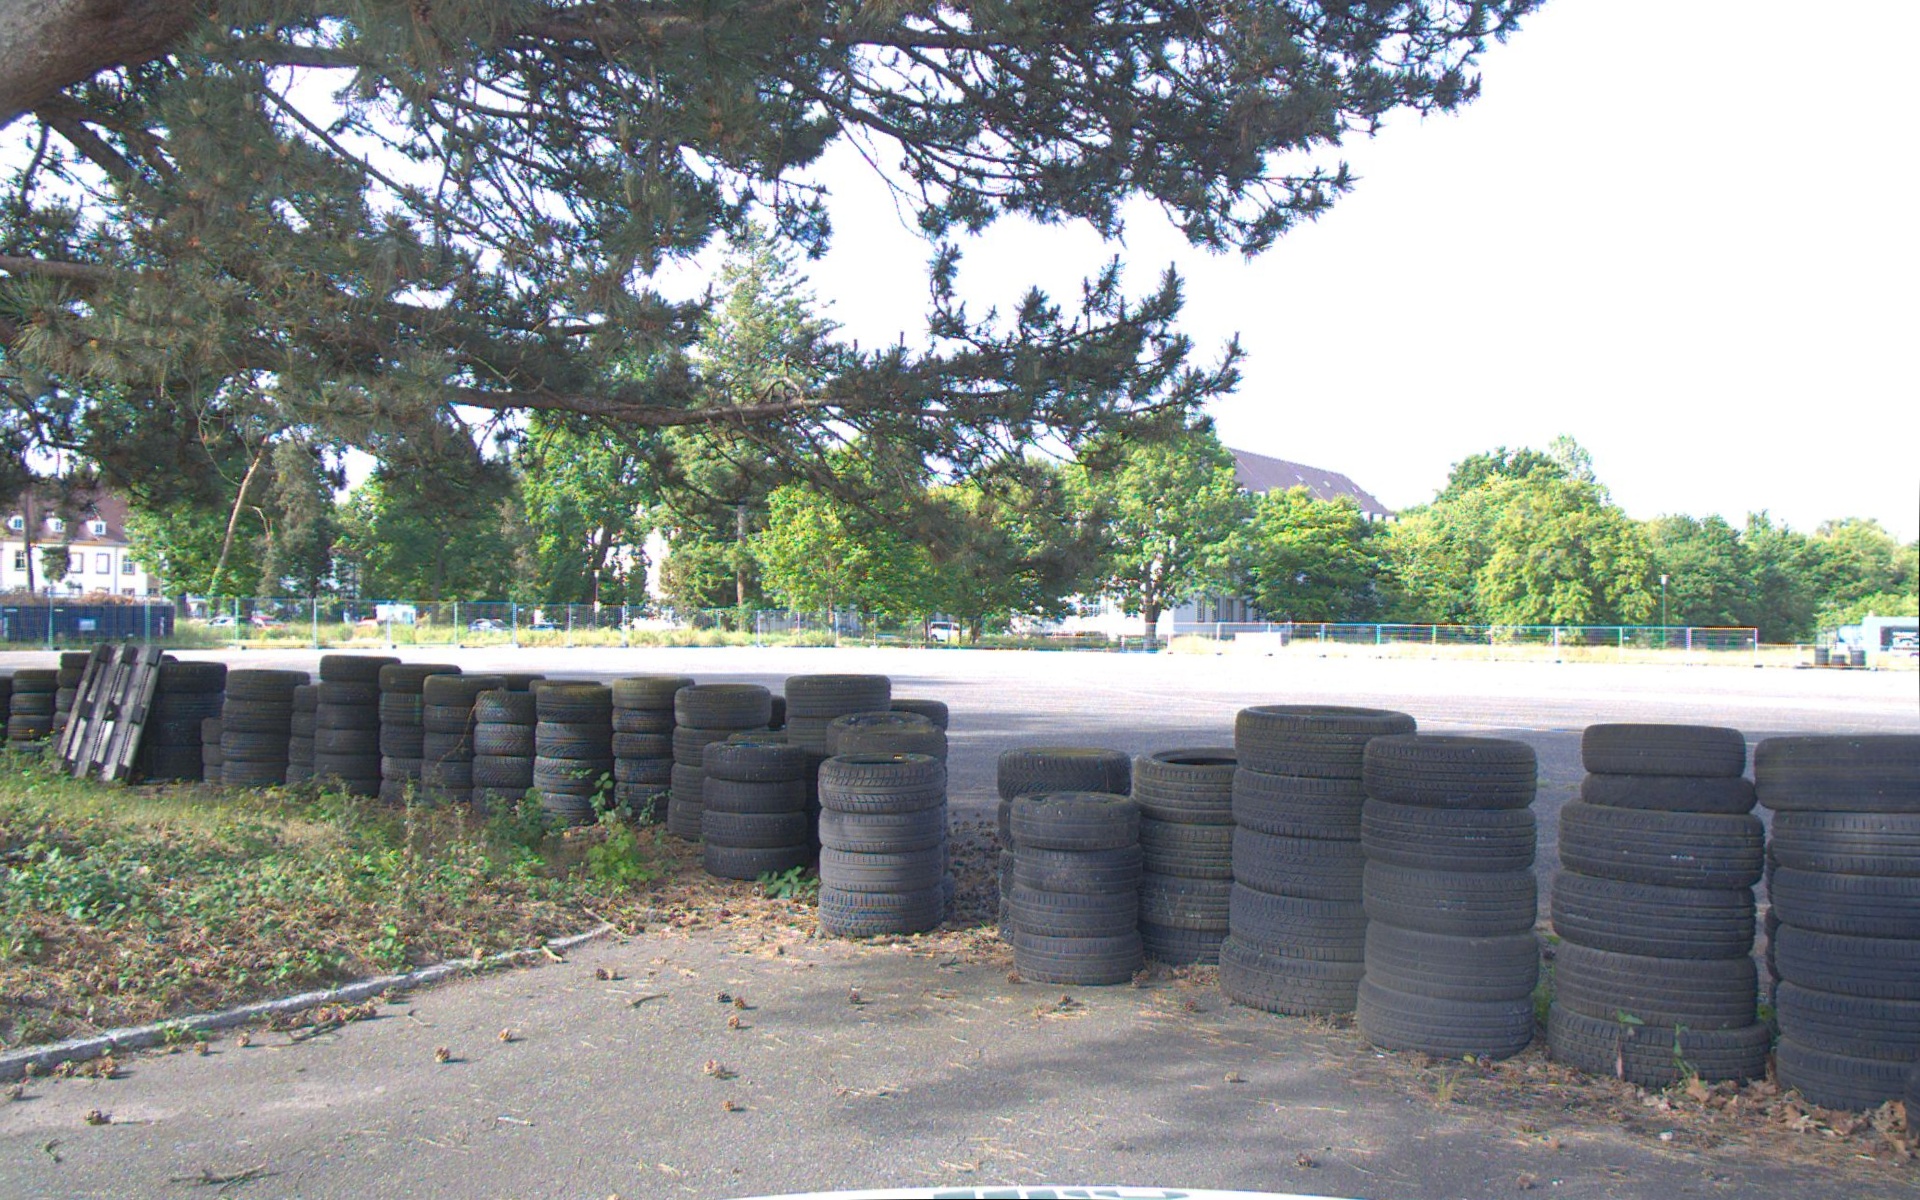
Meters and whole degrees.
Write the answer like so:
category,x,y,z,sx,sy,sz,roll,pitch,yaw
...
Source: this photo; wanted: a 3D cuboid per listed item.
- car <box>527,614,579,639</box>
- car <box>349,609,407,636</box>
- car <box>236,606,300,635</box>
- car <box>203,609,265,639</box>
category,x,y,z,sx,sy,sz,roll,pitch,yaw
car,-30.200,1.943,122.684,3.933,1.780,1.986,0,-1,45
car,-38.754,1.502,110.142,3.927,1.780,1.989,0,-1,41
car,-43.582,1.316,104.105,3.921,1.780,1.992,0,-1,37
car,-44.689,1.459,101.771,3.925,1.780,1.990,0,-1,40
